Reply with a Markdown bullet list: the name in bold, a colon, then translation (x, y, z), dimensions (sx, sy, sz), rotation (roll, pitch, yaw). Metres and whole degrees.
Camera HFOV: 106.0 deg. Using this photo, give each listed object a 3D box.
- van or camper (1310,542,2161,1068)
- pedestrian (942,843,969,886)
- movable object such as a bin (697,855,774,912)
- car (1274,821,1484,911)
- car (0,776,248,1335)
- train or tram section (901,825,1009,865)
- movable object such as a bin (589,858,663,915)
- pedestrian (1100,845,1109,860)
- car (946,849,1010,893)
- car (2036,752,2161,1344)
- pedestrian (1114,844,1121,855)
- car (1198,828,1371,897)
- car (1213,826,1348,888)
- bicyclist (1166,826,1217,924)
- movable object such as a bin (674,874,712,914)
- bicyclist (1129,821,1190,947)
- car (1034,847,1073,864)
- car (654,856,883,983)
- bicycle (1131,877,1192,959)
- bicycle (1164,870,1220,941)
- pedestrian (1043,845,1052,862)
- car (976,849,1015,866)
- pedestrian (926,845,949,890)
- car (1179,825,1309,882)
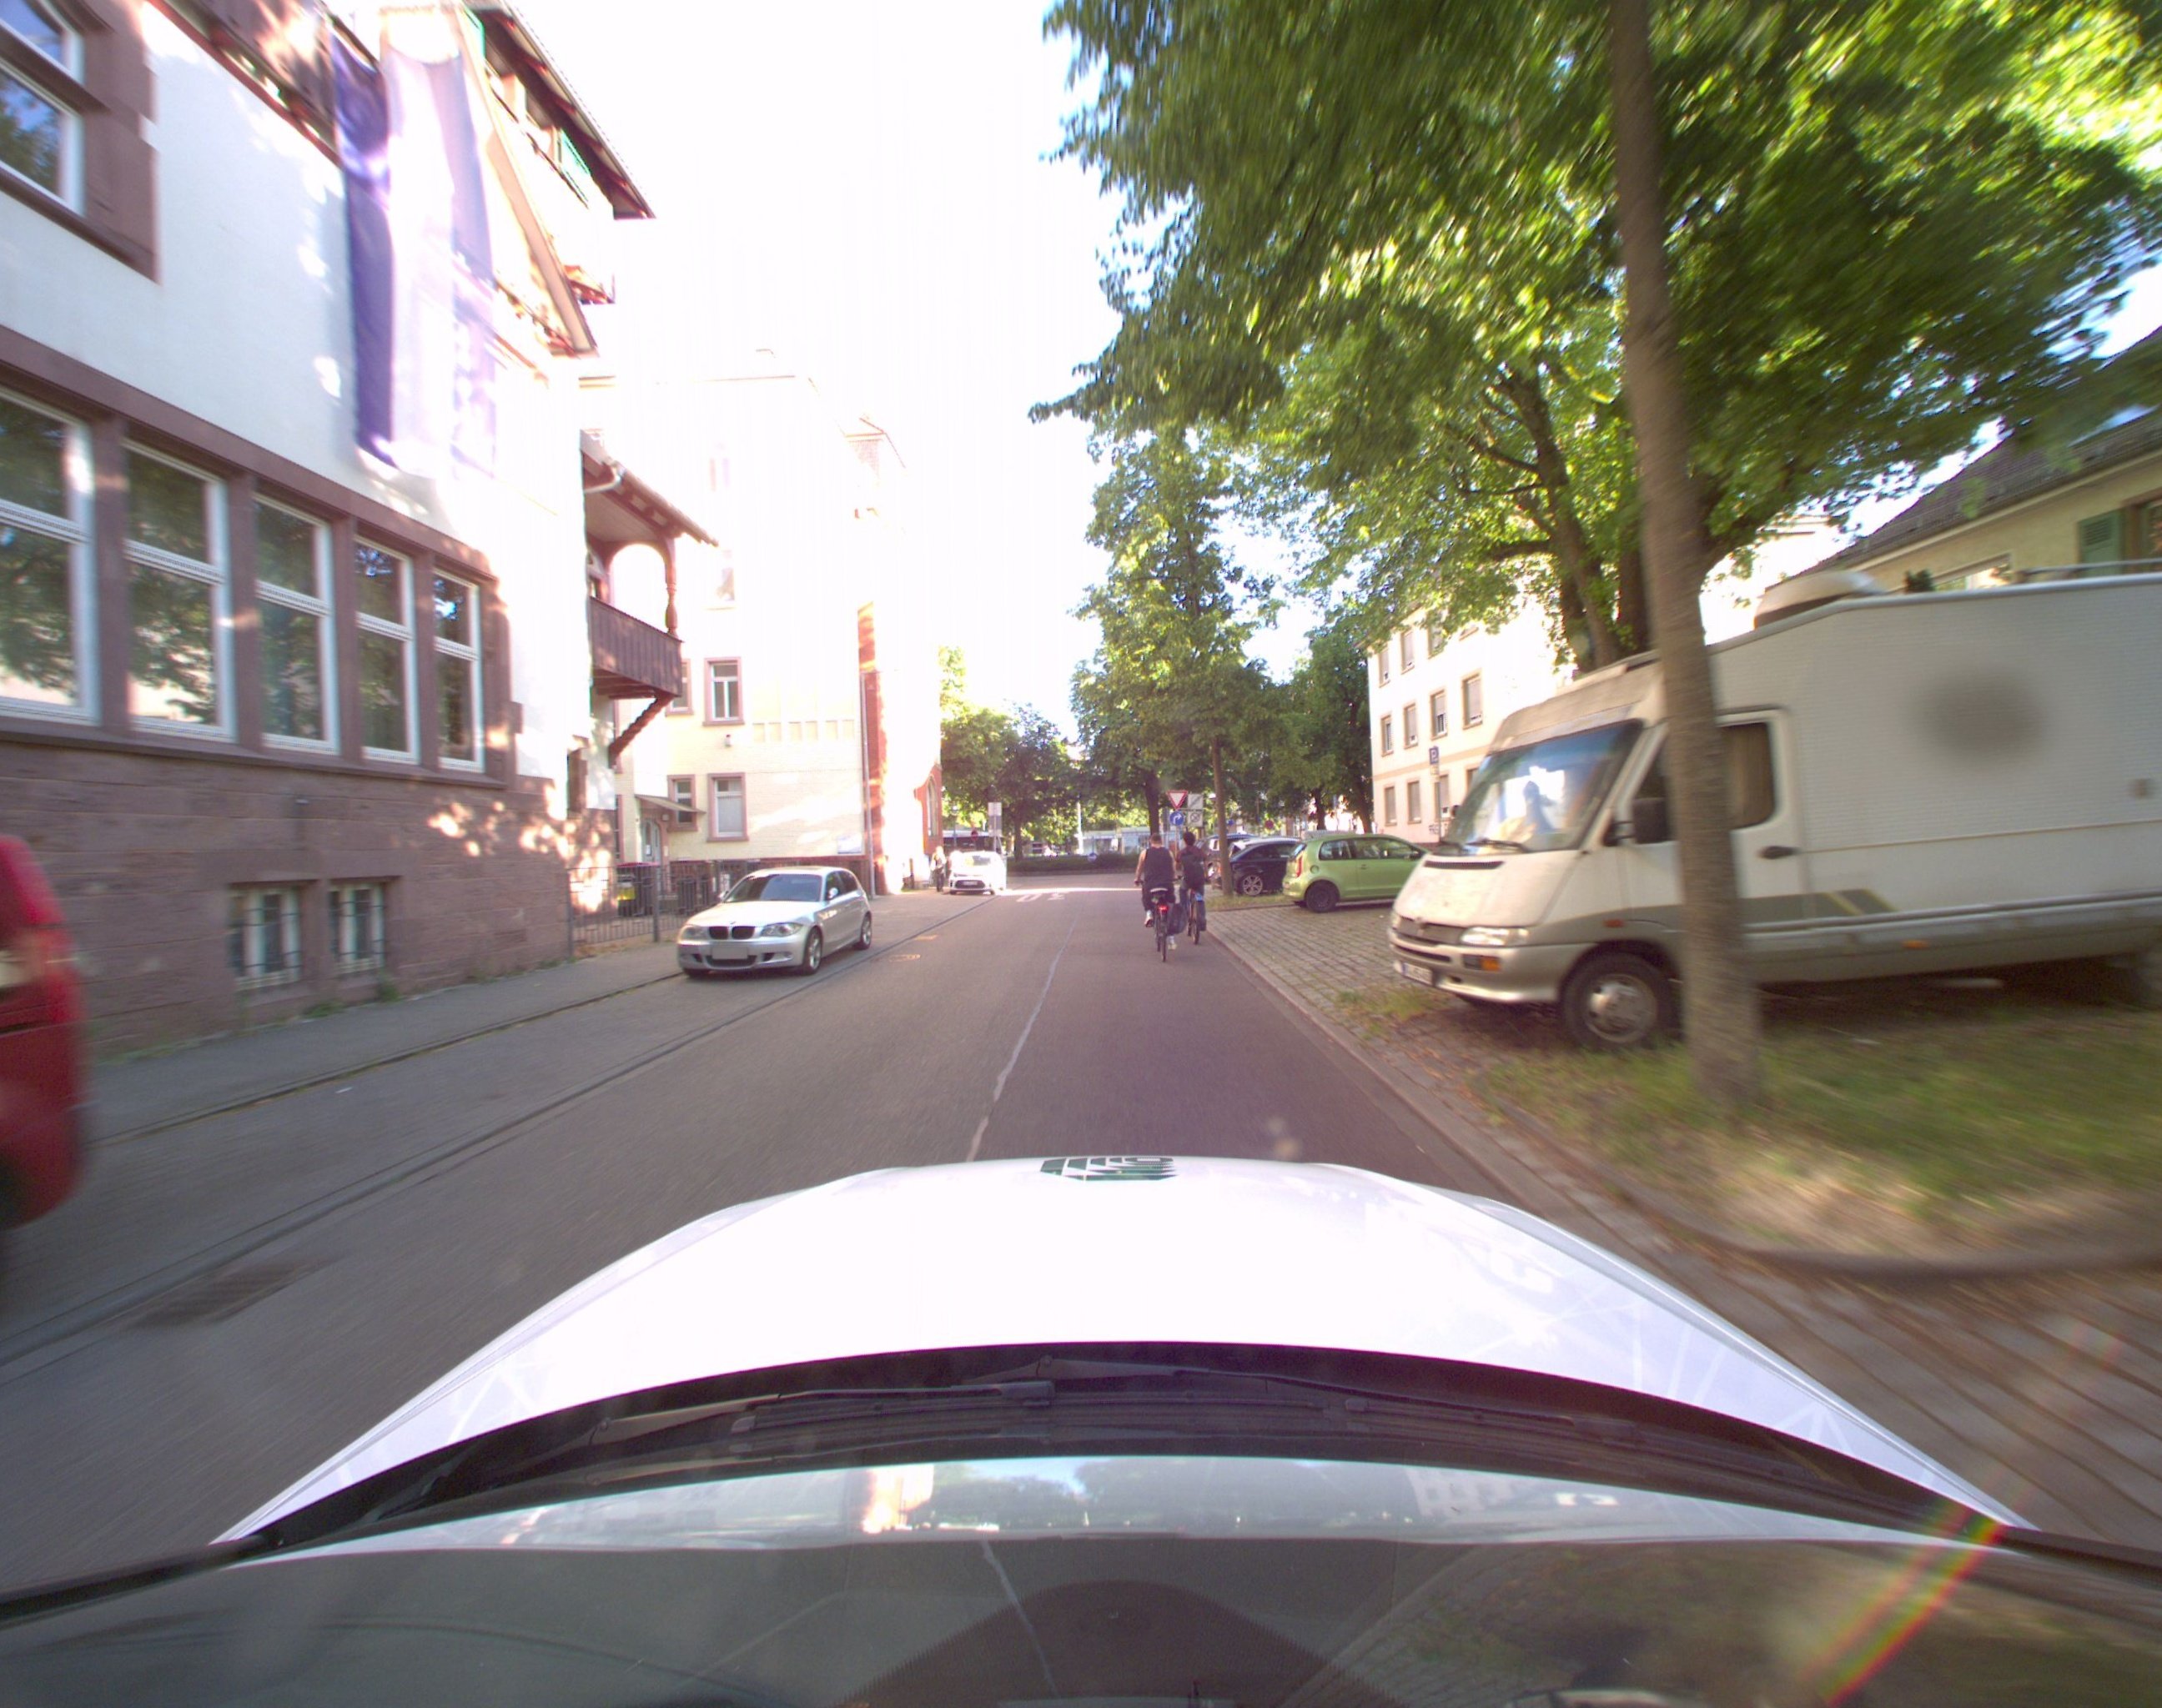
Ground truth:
- **van or camper**: translation (5.690, -0.381, 6.310), dimensions (7.055, 3.077, 2.464), rotation (-2, 0, -1)
- **pedestrian**: translation (-4.999, 0.411, 32.550), dimensions (0.864, 1.643, 0.861), rotation (-2, 0, 2)
- **movable object such as a bin**: translation (-8.310, 0.696, 19.620), dimensions (1.367, 1.299, 0.971), rotation (-2, 0, 11)
- **car**: translation (5.855, 0.221, 16.319), dimensions (3.575, 1.505, 1.679), rotation (-3, 1, 2)
- **car**: translation (-4.638, 0.704, 1.424), dimensions (1.791, 1.906, 4.327), rotation (0, 0, 2)
- **train or tram section**: translation (-10.460, -0.731, 67.583), dimensions (8.448, 3.177, 2.842), rotation (0, 0, -21)
- **movable object such as a bin**: translation (-11.034, 0.781, 19.788), dimensions (1.378, 1.317, 0.686), rotation (-2, 0, -6)
- **pedestrian**: translation (2.528, -0.176, 85.987), dimensions (0.809, 1.543, 0.818), rotation (0, 0, -10)
- **car**: translation (-3.679, 0.574, 29.701), dimensions (1.698, 1.485, 3.799), rotation (0, 0, 2)
- **car**: translation (4.764, 0.359, 1.314), dimensions (3.945, 1.598, 1.905), rotation (-5, -1, 4)
- **pedestrian**: translation (5.607, -0.661, 124.158), dimensions (0.997, 1.630, 1.064), rotation (-2, 0, 0)
- **car**: translation (5.299, 0.219, 21.608), dimensions (4.089, 1.411, 1.793), rotation (-5, 0, 2)
- **car**: translation (5.892, 0.089, 24.373), dimensions (3.675, 1.651, 1.707), rotation (-2, 0, 5)
- **bicyclist**: translation (1.790, 0.338, 13.362), dimensions (0.669, 1.514, 1.069), rotation (-2, -1, 2)
- **movable object such as a bin**: translation (-9.156, 0.937, 19.228), dimensions (0.477, 0.879, 0.675), rotation (-2, 0, 11)
- **bicyclist**: translation (1.096, 0.408, 11.562), dimensions (0.749, 1.682, 0.914), rotation (-2, 0, 2)
- **car**: translation (-3.237, 0.147, 95.300), dimensions (4.005, 1.870, 1.984), rotation (-2, 0, -24)
- **car**: translation (-4.311, 0.803, 11.989), dimensions (1.738, 1.466, 4.103), rotation (-1, 0, 0)
- **bicycle**: translation (1.114, 0.856, 11.599), dimensions (0.735, 1.012, 2.062), rotation (0, 0, 2)
- **bicycle**: translation (1.806, 0.811, 13.561), dimensions (0.671, 1.054, 2.062), rotation (-2, -1, 1)
- **pedestrian**: translation (-3.460, -0.069, 83.569), dimensions (0.704, 1.695, 0.666), rotation (0, 0, -20)
- **car**: translation (-9.539, 0.405, 91.299), dimensions (3.971, 1.679, 1.931), rotation (-3, 1, -42)
- **pedestrian**: translation (-5.195, 0.475, 29.537), dimensions (0.598, 1.605, 0.855), rotation (-2, 0, 0)
- **car**: translation (5.725, -0.027, 28.985), dimensions (4.096, 1.712, 2.022), rotation (-3, 1, -3)
